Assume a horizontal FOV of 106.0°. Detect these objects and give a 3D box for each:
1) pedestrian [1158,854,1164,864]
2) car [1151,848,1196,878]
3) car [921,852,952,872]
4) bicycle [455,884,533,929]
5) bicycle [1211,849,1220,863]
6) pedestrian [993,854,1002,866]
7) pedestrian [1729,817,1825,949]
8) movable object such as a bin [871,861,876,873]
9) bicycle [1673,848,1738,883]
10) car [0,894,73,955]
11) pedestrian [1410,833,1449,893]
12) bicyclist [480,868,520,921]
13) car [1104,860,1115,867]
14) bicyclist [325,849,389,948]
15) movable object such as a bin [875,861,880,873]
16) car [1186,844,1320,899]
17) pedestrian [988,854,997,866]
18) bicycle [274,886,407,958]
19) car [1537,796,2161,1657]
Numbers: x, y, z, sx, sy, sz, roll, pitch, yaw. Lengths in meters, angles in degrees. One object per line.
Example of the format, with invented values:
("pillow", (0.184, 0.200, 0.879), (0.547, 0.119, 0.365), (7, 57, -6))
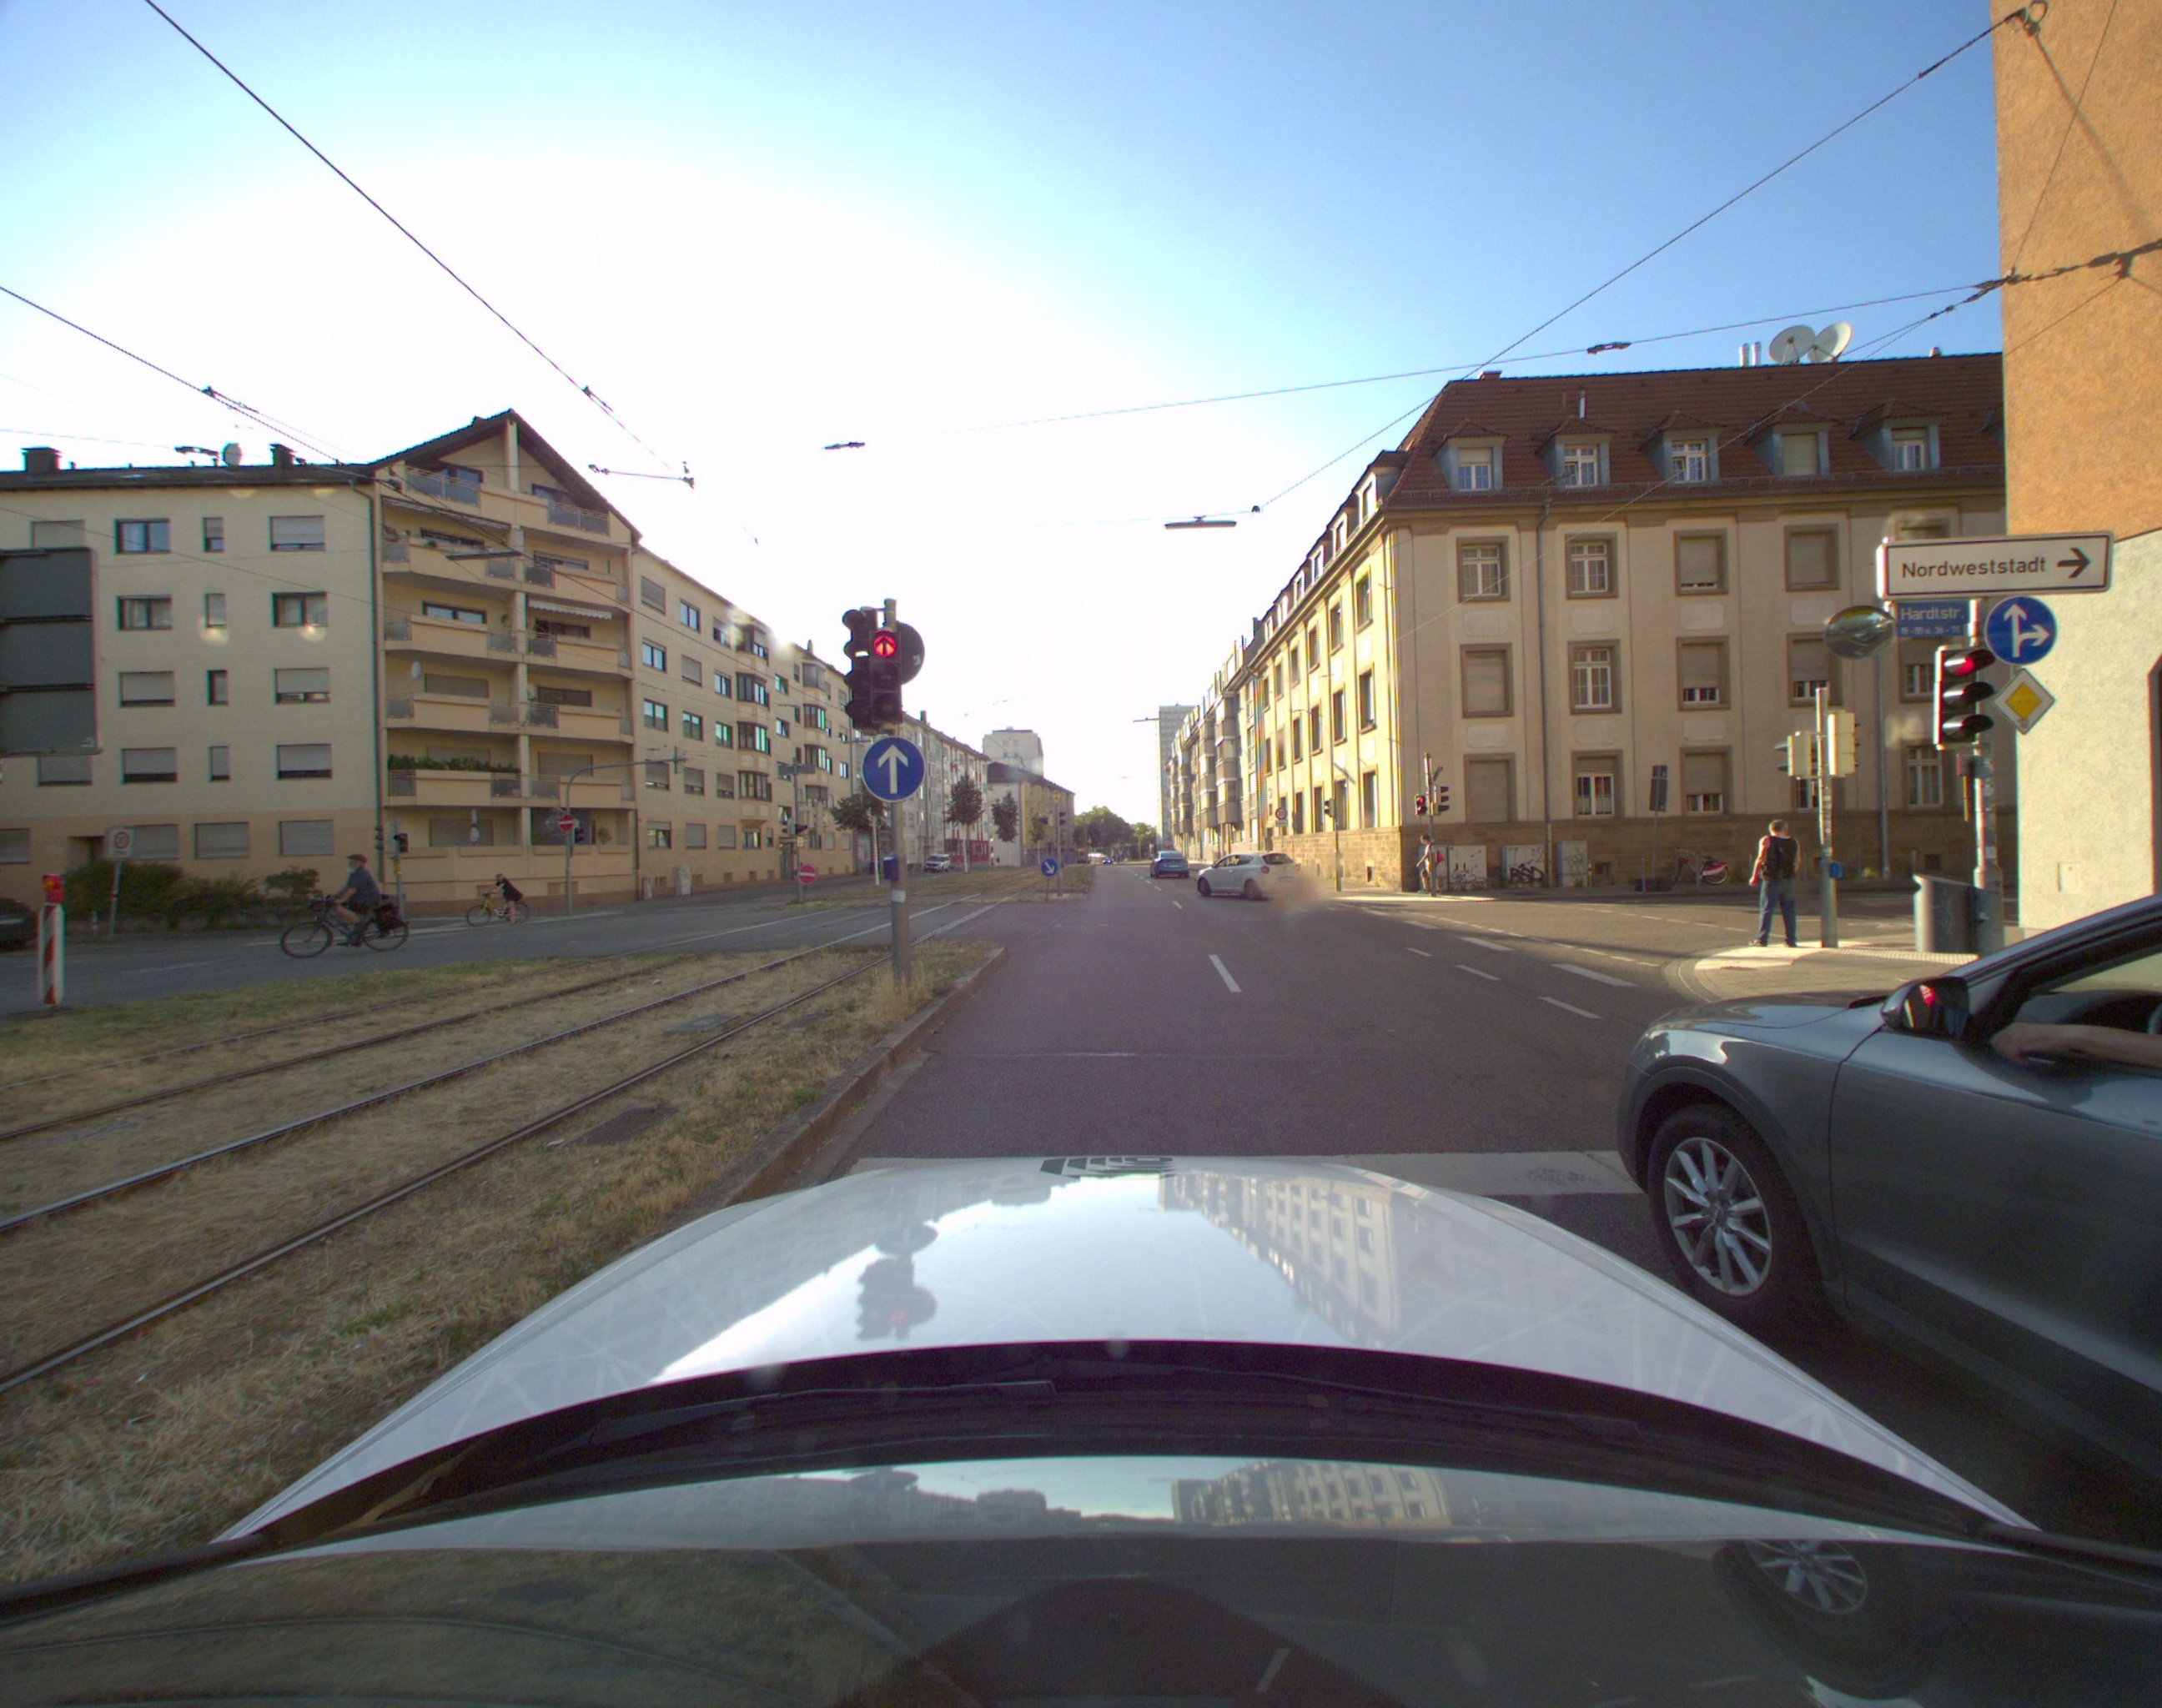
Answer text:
("pedestrian", (10.283, 0.638, 105.069), (0.688, 1.234, 0.737), (0, -1, 2))
("car", (4.925, 0.476, 43.797), (1.986, 1.554, 4.394), (0, 0, 1))
("car", (-14.522, 0.796, 82.132), (1.984, 1.925, 4.548), (0, -1, 5))
("bicycle", (-18.241, 1.605, 25.349), (0.450, 1.257, 1.883), (-1, 1, 34))
("bicycle", (10.193, 0.155, 61.727), (0.382, 1.096, 1.503), (-2, -1, 0))
("pedestrian", (-11.958, 0.906, 116.760), (0.957, 1.670, 1.013), (0, -1, 7))
("pedestrian", (9.684, 0.393, 11.357), (0.627, 1.758, 0.826), (0, -1, 1))
("movable object such as a bin", (-17.577, 1.103, 68.890), (0.297, 1.036, 0.442), (0, -1, 4))
("bicycle", (18.370, 0.333, 23.974), (1.491, 1.018, 0.251), (-1, -1, 17))
("car", (-30.100, 1.933, 21.531), (3.983, 1.442, 1.996), (-2, 2, -7))
("pedestrian", (10.335, 0.268, 24.176), (0.832, 1.762, 0.824), (0, -1, 1))
("bicyclist", (-18.187, 1.254, 25.501), (0.620, 1.586, 0.814), (-1, 0, 35))
("car", (6.773, 2.329, 194.774), (1.885, 1.633, 4.761), (-2, 0, 10))
("bicyclist", (-14.449, 0.854, 16.273), (0.813, 1.882, 0.646), (-3, 2, -37))
("movable object such as a bin", (-17.355, 1.094, 69.409), (0.297, 1.036, 0.441), (0, -1, 1))
("car", (5.260, 0.511, 25.436), (2.005, 1.564, 3.963), (0, -1, -28))
("pedestrian", (-12.664, 0.909, 116.478), (0.957, 1.694, 1.013), (0, -1, 7))
("bicycle", (-14.625, 1.311, 16.157), (1.879, 1.257, 0.451), (-2, 1, -36))
("car", (2.795, 0.673, 1.475), (1.691, 1.552, 4.227), (0, 0, 2))
